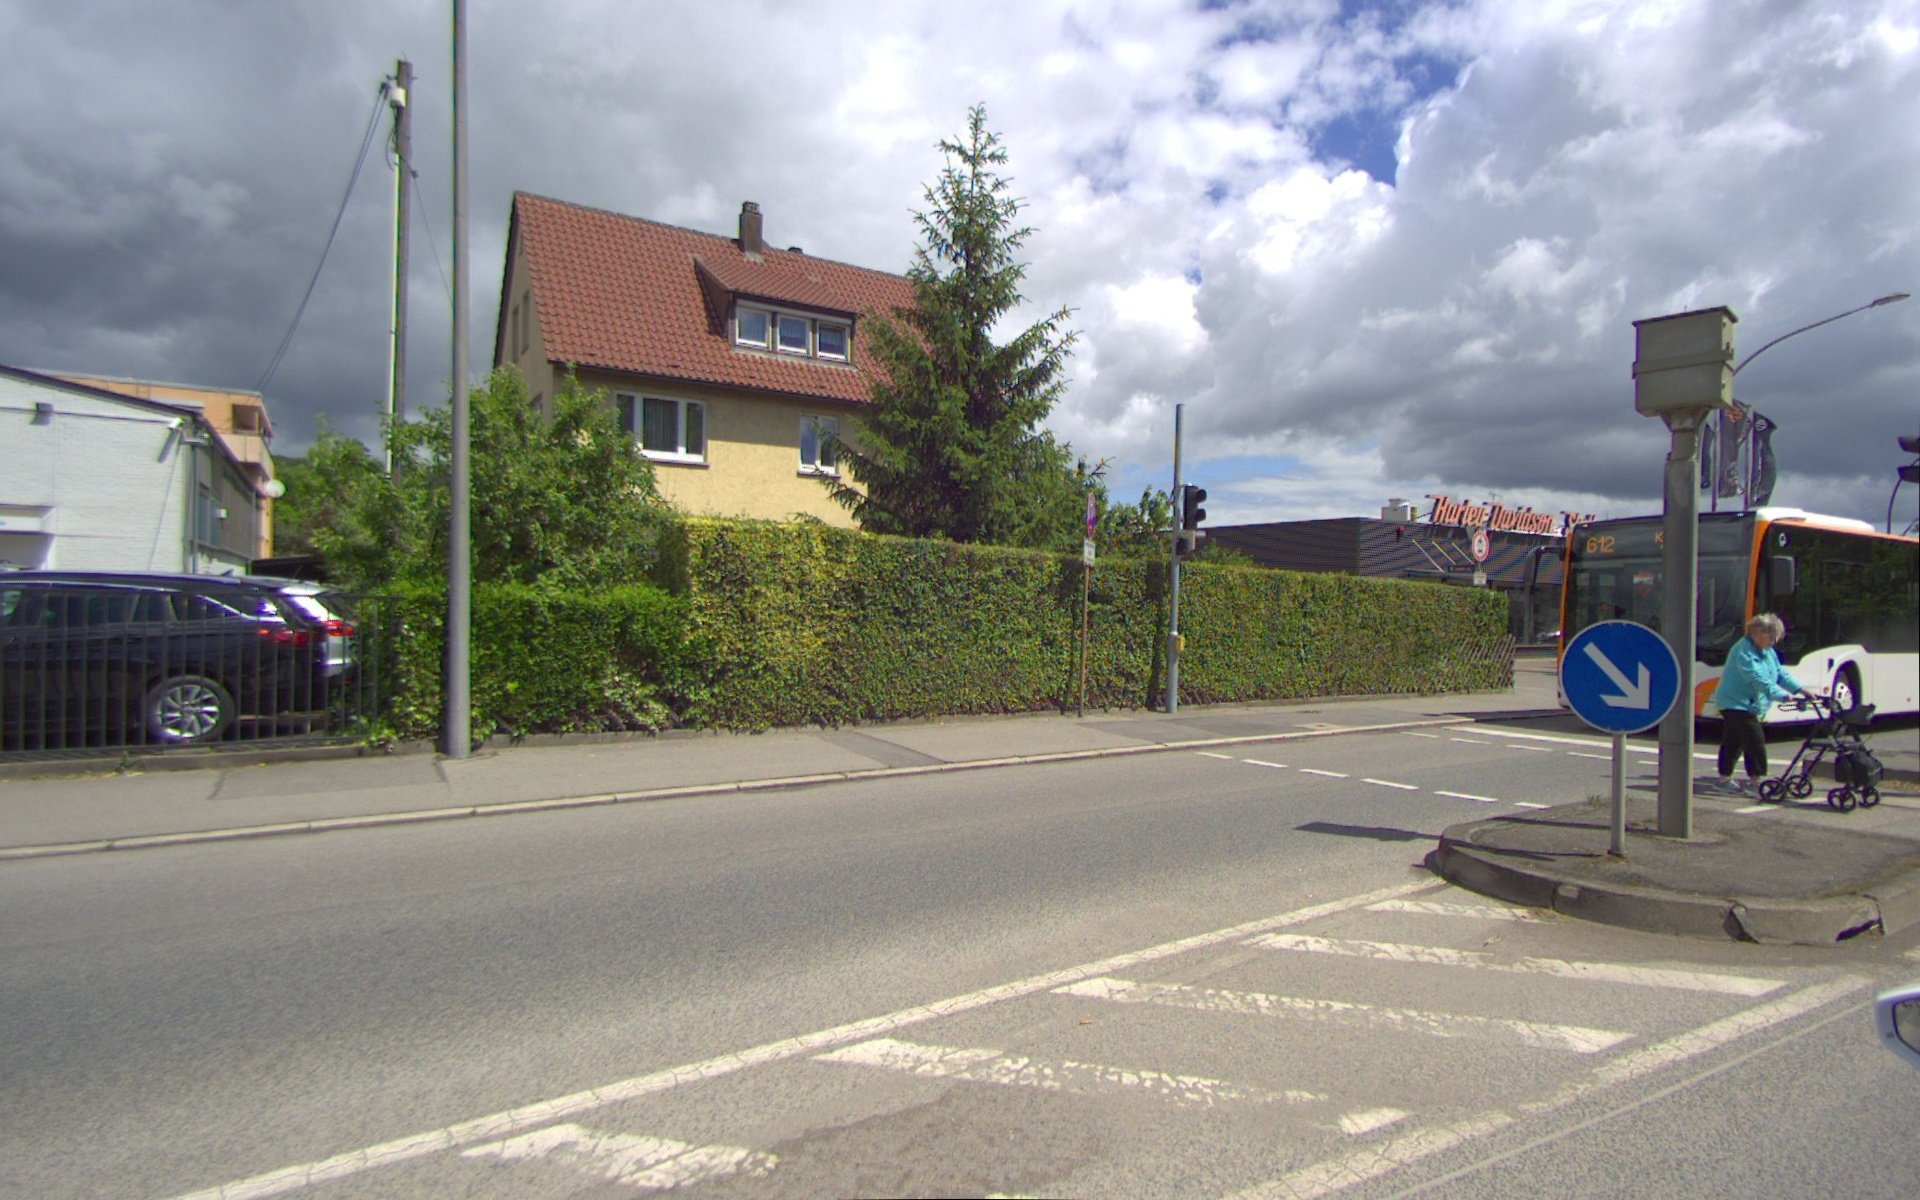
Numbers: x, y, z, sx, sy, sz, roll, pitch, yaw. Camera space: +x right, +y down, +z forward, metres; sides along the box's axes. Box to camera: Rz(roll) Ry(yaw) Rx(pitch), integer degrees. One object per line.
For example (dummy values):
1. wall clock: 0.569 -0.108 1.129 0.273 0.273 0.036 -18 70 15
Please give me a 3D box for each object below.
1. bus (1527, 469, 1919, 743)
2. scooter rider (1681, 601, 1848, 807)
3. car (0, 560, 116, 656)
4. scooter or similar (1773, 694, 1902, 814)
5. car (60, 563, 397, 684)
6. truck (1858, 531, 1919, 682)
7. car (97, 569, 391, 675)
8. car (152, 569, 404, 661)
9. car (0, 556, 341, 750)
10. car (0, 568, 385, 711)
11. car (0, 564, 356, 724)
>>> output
1. bus: 14.052 0.243 16.413 11.982 3.309 2.764 2 -1 -31
2. scooter rider: 6.784 0.826 8.485 0.787 1.611 0.873 1 0 -31
3. car: -17.370 0.121 17.491 3.963 1.639 1.763 1 -1 -37
4. scooter or similar: 7.016 1.204 8.039 0.652 0.843 0.608 1 0 -31
5. car: -10.964 0.360 15.389 3.959 1.639 1.765 1 -1 -34
6. truck: 30.099 0.296 30.516 9.068 4.186 2.410 2 2 -38
7. car: -12.268 0.378 17.438 3.963 1.639 1.763 1 -1 -37
8. car: -13.413 0.313 19.913 3.963 1.639 1.763 1 -1 -37
9. car: -8.013 0.420 8.899 4.224 1.527 2.140 1 -1 -35
10. car: -9.990 0.492 13.342 3.959 1.639 1.765 1 -1 -34
11. car: -9.104 0.429 10.933 4.224 1.527 2.140 1 0 -35
